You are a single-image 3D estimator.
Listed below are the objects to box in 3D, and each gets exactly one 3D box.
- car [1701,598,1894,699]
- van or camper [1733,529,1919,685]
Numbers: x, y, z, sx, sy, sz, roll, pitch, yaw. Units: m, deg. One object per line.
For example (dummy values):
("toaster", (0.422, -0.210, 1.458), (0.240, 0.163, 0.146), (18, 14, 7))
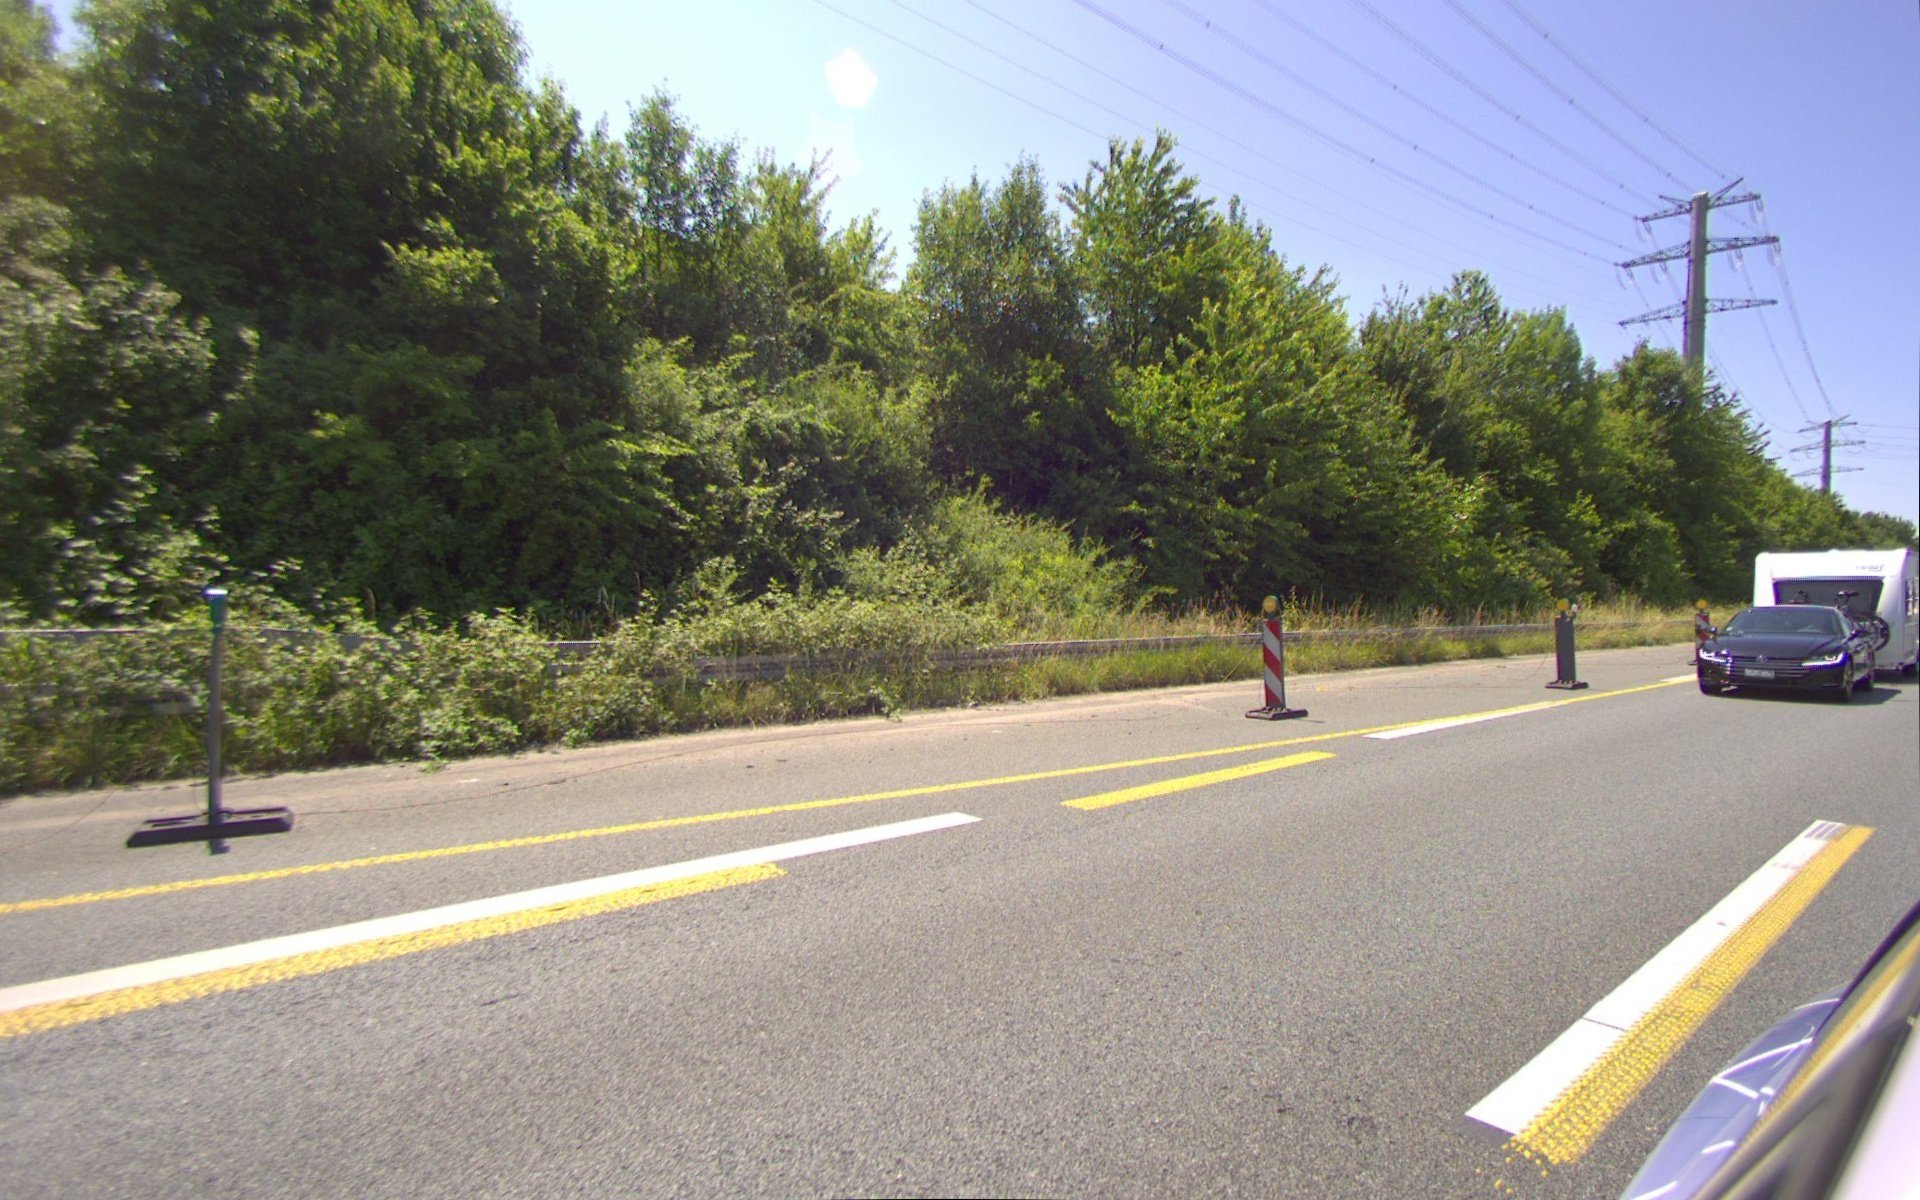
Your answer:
("car", (13.613, 0.680, 16.367), (4.137, 1.425, 1.799), (0, 0, -41))
("van or camper", (18.195, 0.109, 20.564), (8.271, 2.597, 2.430), (0, 0, -42))
